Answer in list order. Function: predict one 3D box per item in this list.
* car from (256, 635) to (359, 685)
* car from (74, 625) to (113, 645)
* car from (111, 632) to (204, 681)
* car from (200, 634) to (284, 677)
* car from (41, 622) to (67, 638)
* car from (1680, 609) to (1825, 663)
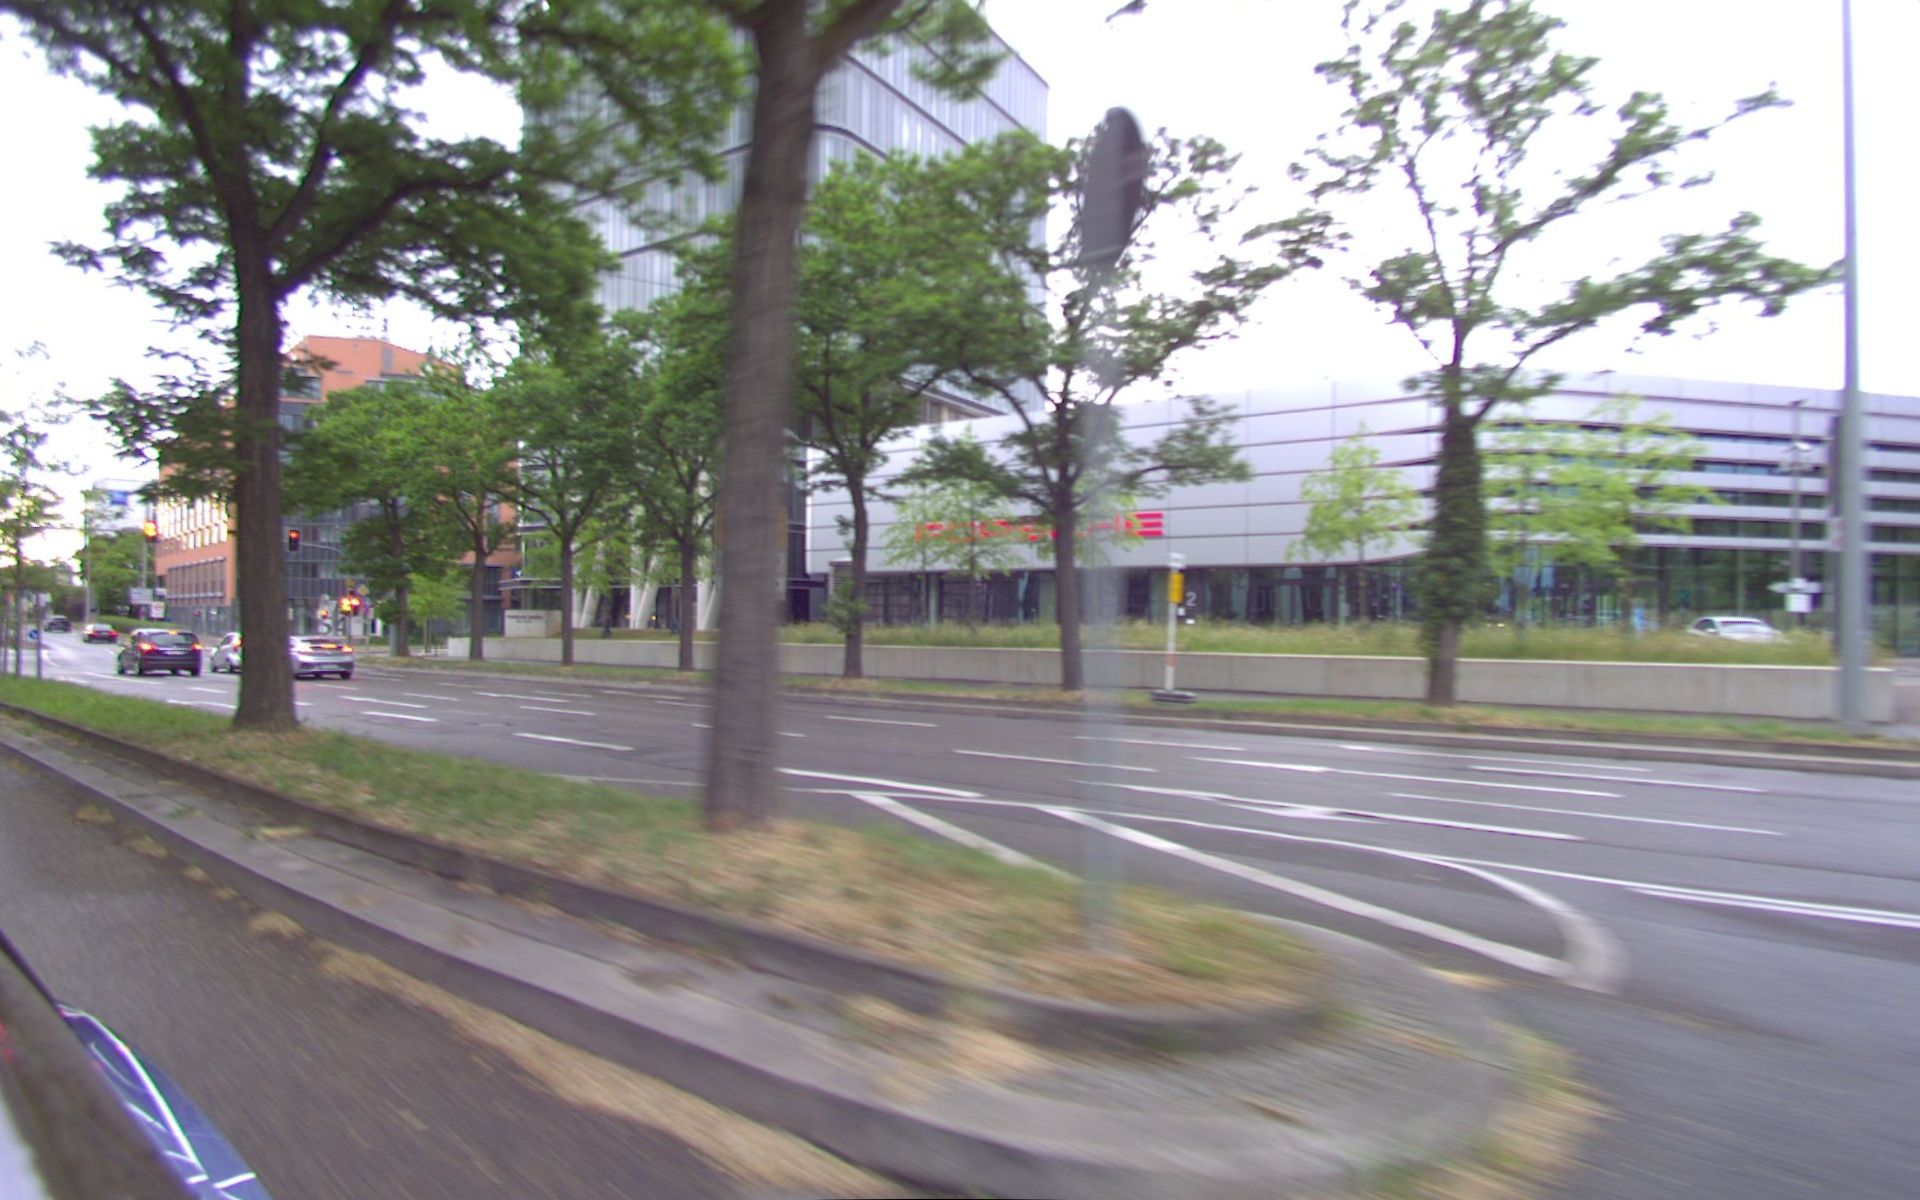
[{"bbox_3d":[-22.032,1.970,34.106,3.998,1.464,1.869,-1,1,41],"label":"car"},{"bbox_3d":[-68.303,2.751,79.777,3.998,1.464,1.760,-1,1,41],"label":"car"},{"bbox_3d":[-28.528,1.955,35.945,4.171,1.602,1.822,-1,-2,41],"label":"car"},{"bbox_3d":[-28.025,2.122,39.469,3.998,1.464,1.760,-1,1,41],"label":"car"},{"bbox_3d":[-92.420,3.050,103.221,4.002,1.464,1.758,-1,1,45],"label":"car"},{"bbox_3d":[23.939,1.051,30.767,1.759,1.423,3.988,-1,0,10],"label":"car"}]
